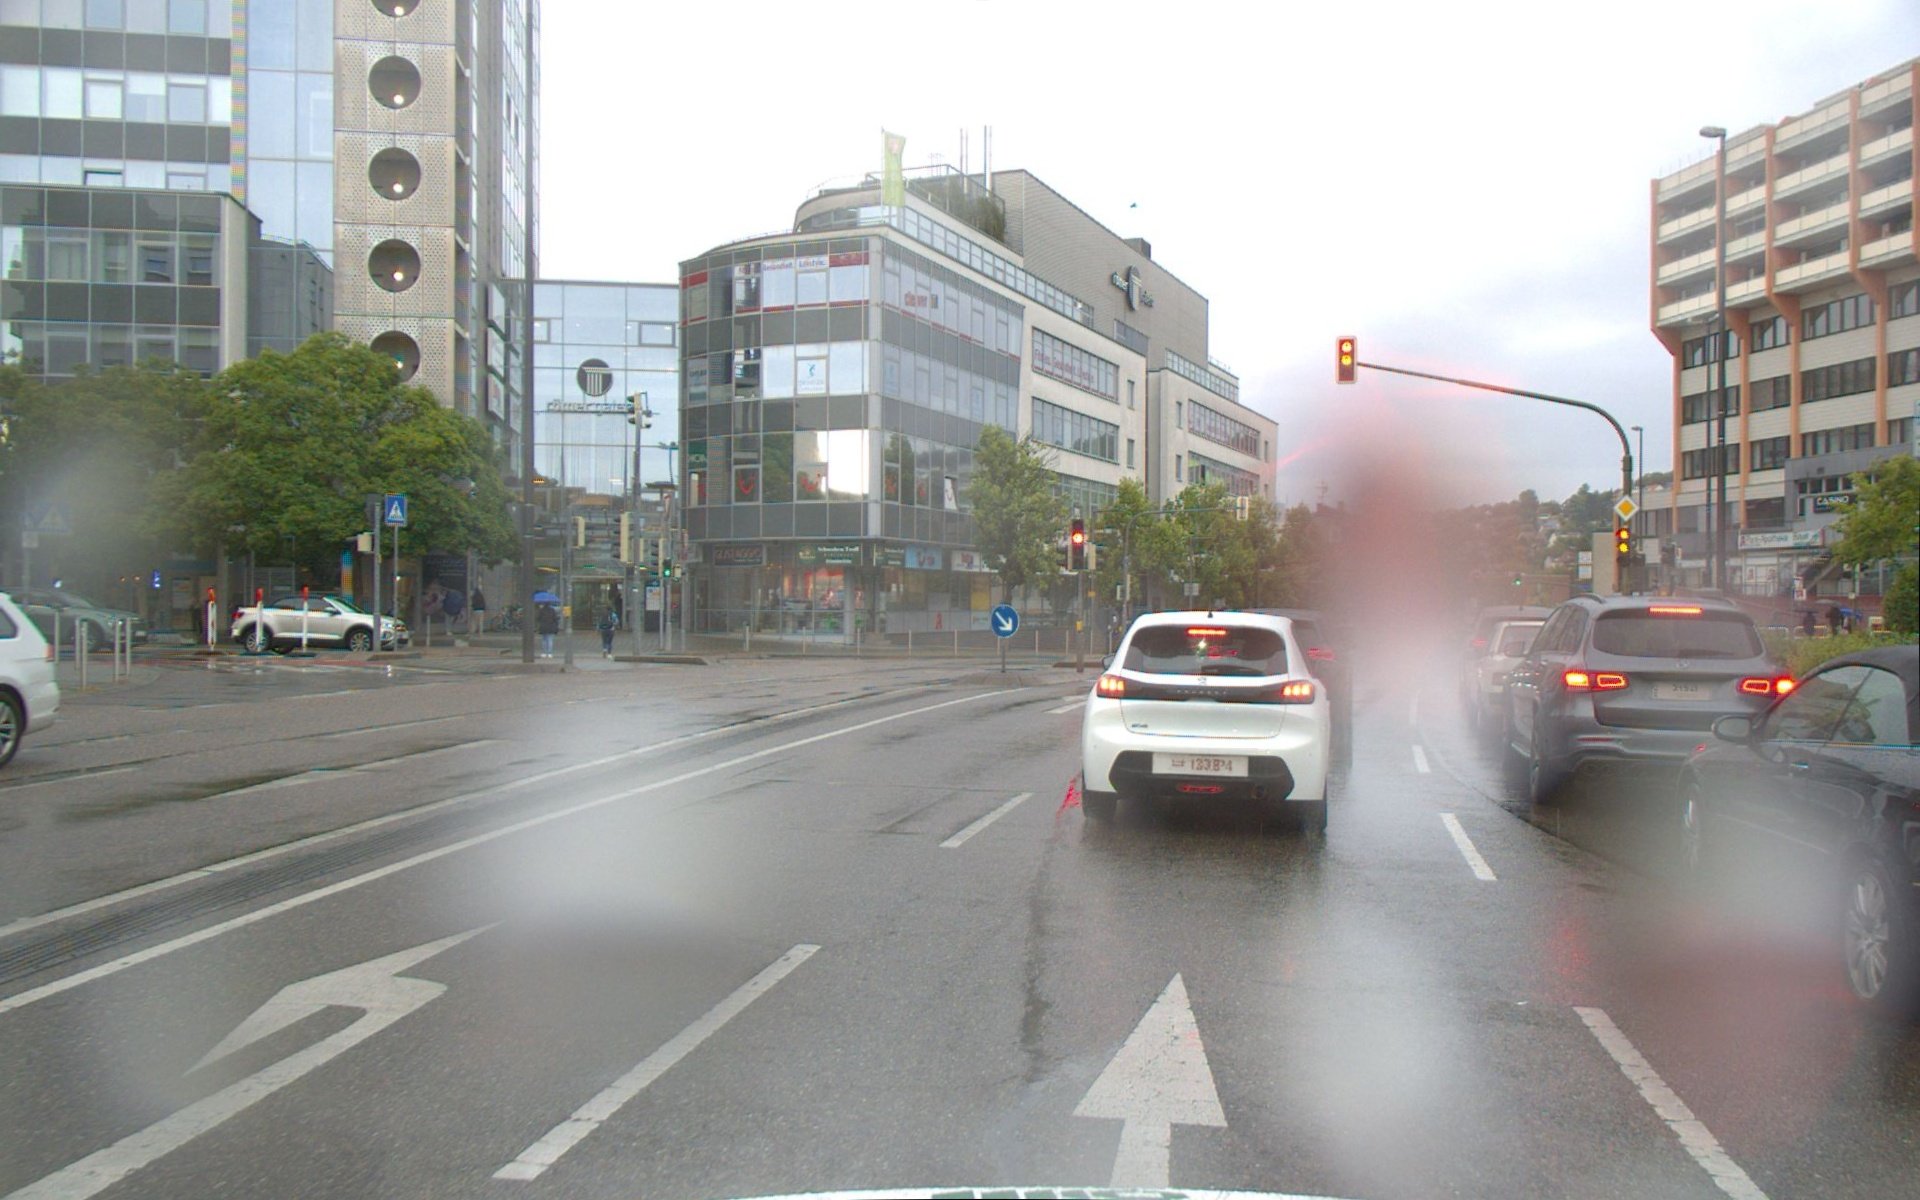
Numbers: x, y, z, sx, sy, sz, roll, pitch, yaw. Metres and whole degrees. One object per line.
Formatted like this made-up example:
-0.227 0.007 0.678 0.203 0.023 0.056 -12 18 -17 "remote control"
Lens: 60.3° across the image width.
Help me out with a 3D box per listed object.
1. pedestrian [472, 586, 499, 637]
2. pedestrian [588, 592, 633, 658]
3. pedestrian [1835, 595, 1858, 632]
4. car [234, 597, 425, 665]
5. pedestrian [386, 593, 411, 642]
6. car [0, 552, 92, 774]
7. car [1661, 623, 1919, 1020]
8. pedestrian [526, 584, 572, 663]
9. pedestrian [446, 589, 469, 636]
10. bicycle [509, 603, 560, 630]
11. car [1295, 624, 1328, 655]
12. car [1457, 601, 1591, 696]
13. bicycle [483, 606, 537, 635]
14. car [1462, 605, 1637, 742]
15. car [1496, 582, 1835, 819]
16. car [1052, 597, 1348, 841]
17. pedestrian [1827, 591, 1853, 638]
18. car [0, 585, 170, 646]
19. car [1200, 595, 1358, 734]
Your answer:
-19.201 0.457 66.916 0.746 2.049 0.715 1 0 13 "pedestrian"
-9.940 0.705 47.058 0.828 1.851 1.024 0 -1 24 "pedestrian"
32.799 0.509 61.197 0.693 1.369 0.655 -1 -2 26 "pedestrian"
-16.023 0.771 42.193 4.108 1.623 1.869 1 0 -3 "car"
-22.255 0.697 65.597 0.745 1.901 0.823 1 -1 -35 "pedestrian"
-8.443 0.456 11.674 1.845 1.712 4.509 1 0 6 "car"
4.560 0.850 7.415 1.597 1.410 4.518 1 0 10 "car"
-10.925 0.620 43.951 1.143 2.049 1.323 1 0 -15 "pedestrian"
-20.287 0.497 66.752 0.816 1.901 0.751 0 -1 -11 "pedestrian"
-19.998 0.762 77.732 2.232 1.268 0.675 0 -1 -10 "bicycle"
20.418 2.273 96.099 1.476 1.755 3.656 1 0 18 "car"
9.204 0.743 27.222 1.871 1.425 3.460 0 0 15 "car"
-19.801 0.886 72.827 2.232 1.268 0.675 0 -1 -10 "bicycle"
7.317 0.833 20.867 1.599 1.473 4.272 2 1 14 "car"
5.756 0.722 14.046 1.861 1.649 4.339 1 0 13 "car"
1.955 0.756 12.421 1.832 1.488 3.876 1 0 13 "car"
32.455 0.534 61.007 0.694 1.634 0.655 6 3 28 "pedestrian"
-22.377 0.388 41.702 3.964 1.445 1.869 1 0 -2 "car"
4.151 0.753 21.168 1.777 1.556 3.815 2 0 13 "car"
